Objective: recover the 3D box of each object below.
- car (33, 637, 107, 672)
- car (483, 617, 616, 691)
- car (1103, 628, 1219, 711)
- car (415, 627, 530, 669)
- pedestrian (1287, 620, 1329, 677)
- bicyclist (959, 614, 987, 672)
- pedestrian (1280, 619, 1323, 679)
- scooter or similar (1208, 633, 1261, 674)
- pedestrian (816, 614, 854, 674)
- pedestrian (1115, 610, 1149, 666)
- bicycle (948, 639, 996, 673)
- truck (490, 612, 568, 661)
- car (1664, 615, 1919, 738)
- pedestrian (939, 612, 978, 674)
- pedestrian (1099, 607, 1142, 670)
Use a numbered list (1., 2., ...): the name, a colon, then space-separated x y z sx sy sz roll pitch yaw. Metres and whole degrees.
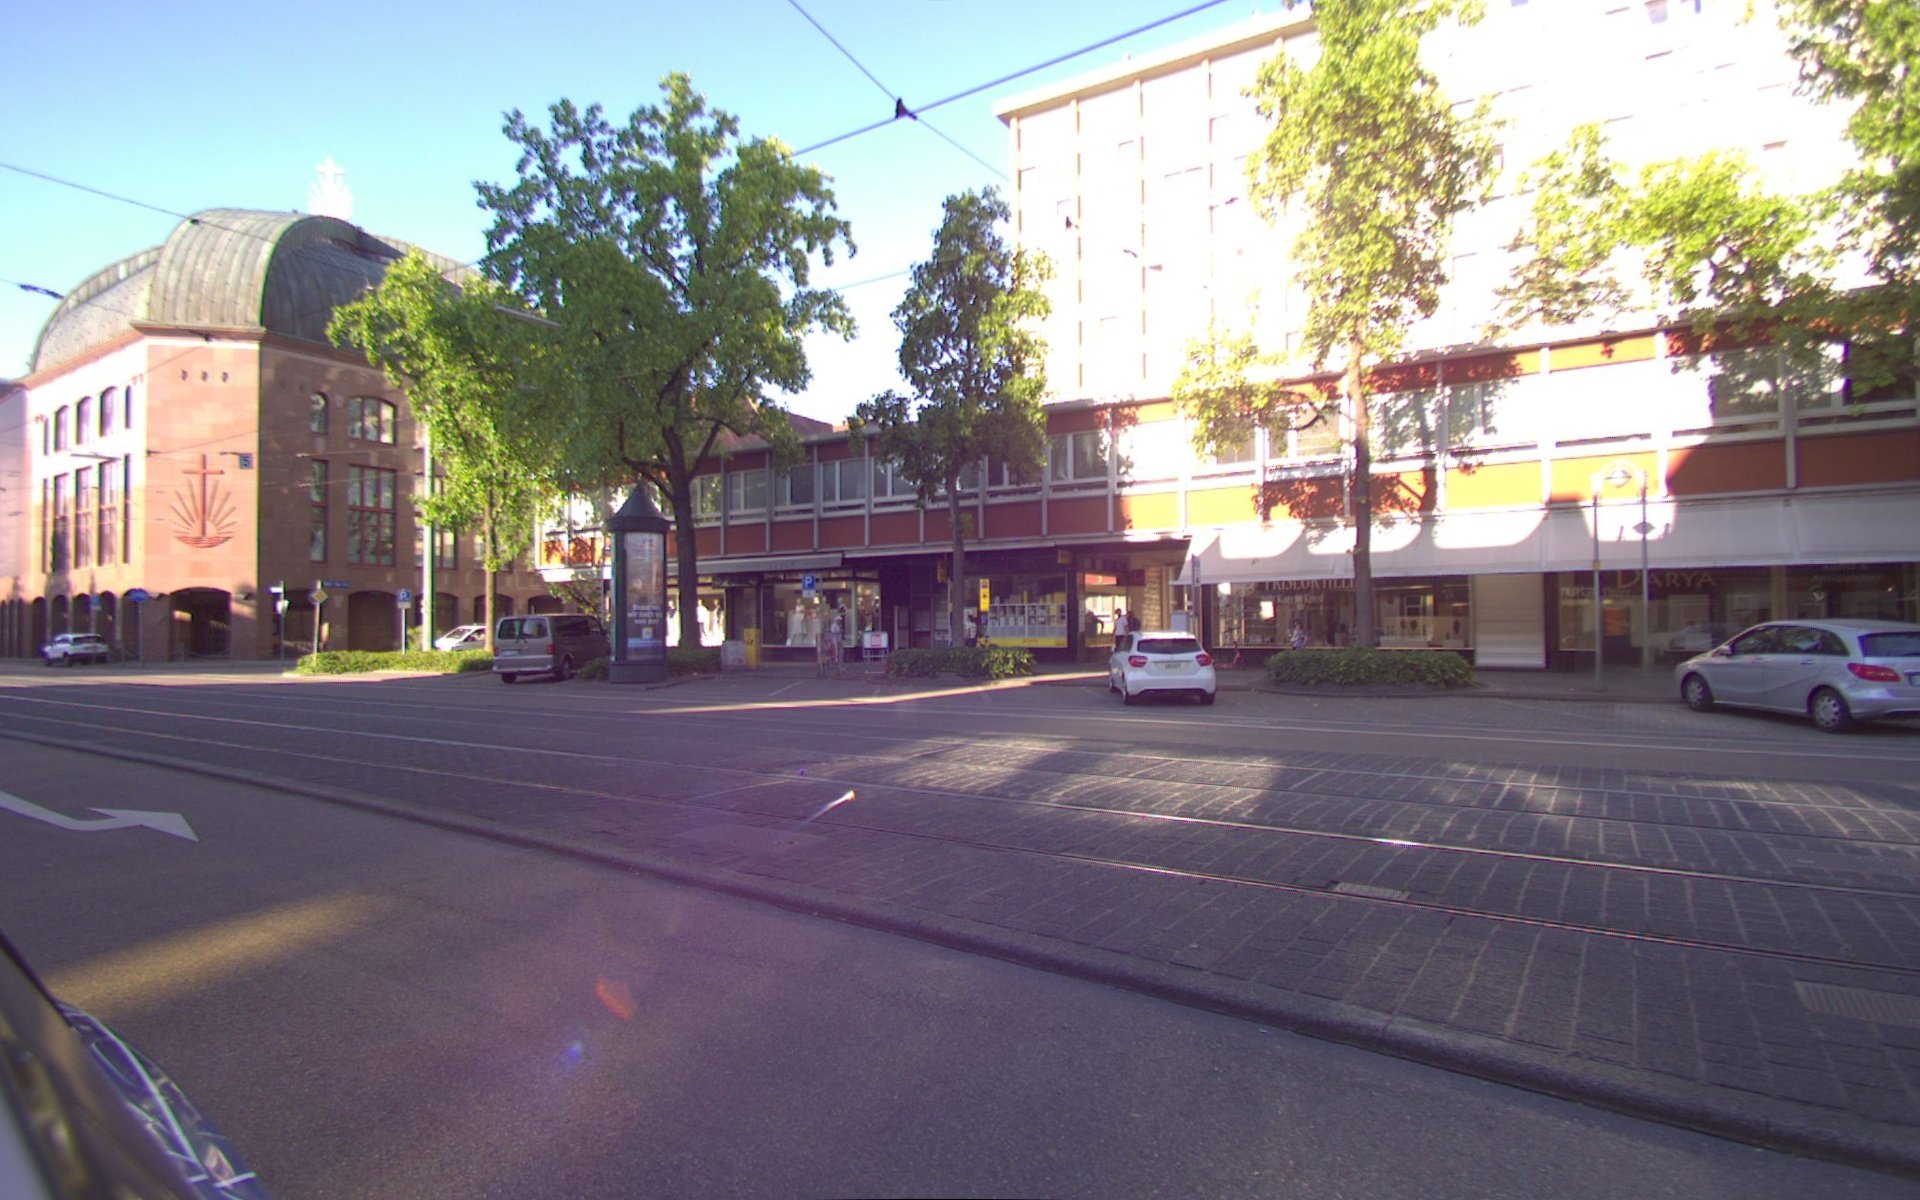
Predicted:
1. car: -44.436 2.709 50.515 4.263 1.602 1.583 -2 0 32
2. car: -12.248 1.534 30.591 1.829 1.943 5.119 -1 0 2
3. car: 4.088 1.363 21.202 1.743 1.440 4.266 -1 0 3
4. car: -25.120 2.444 52.335 2.125 1.982 4.941 2 0 31
5. pedestrian: 9.140 1.271 26.607 0.897 1.481 0.682 -2 -2 31
6. bicyclist: 0.419 1.373 32.258 0.818 1.836 0.491 -1 -2 8
7. pedestrian: 8.782 1.251 25.996 0.897 1.509 0.682 -2 -2 31
8. scooter or similar: 7.690 1.495 28.385 1.333 1.102 0.471 -2 -1 32
9. pedestrian: -4.030 1.425 32.647 0.893 1.892 0.913 -1 -2 20
10. pedestrian: 5.891 1.301 34.593 0.915 1.892 0.892 -2 -2 27
11. bicycle: 0.387 1.782 32.248 1.479 1.033 0.491 -1 -2 8
12. truck: -25.453 2.160 59.740 4.512 2.784 1.838 -2 -2 30
13. car: 13.012 1.032 15.333 1.803 1.578 4.277 -1 -1 2
14. pedestrian: -0.049 1.352 31.720 0.897 1.892 0.909 -2 -2 31
15. pedestrian: 5.103 1.207 32.156 0.996 1.963 0.887 -2 -3 44
